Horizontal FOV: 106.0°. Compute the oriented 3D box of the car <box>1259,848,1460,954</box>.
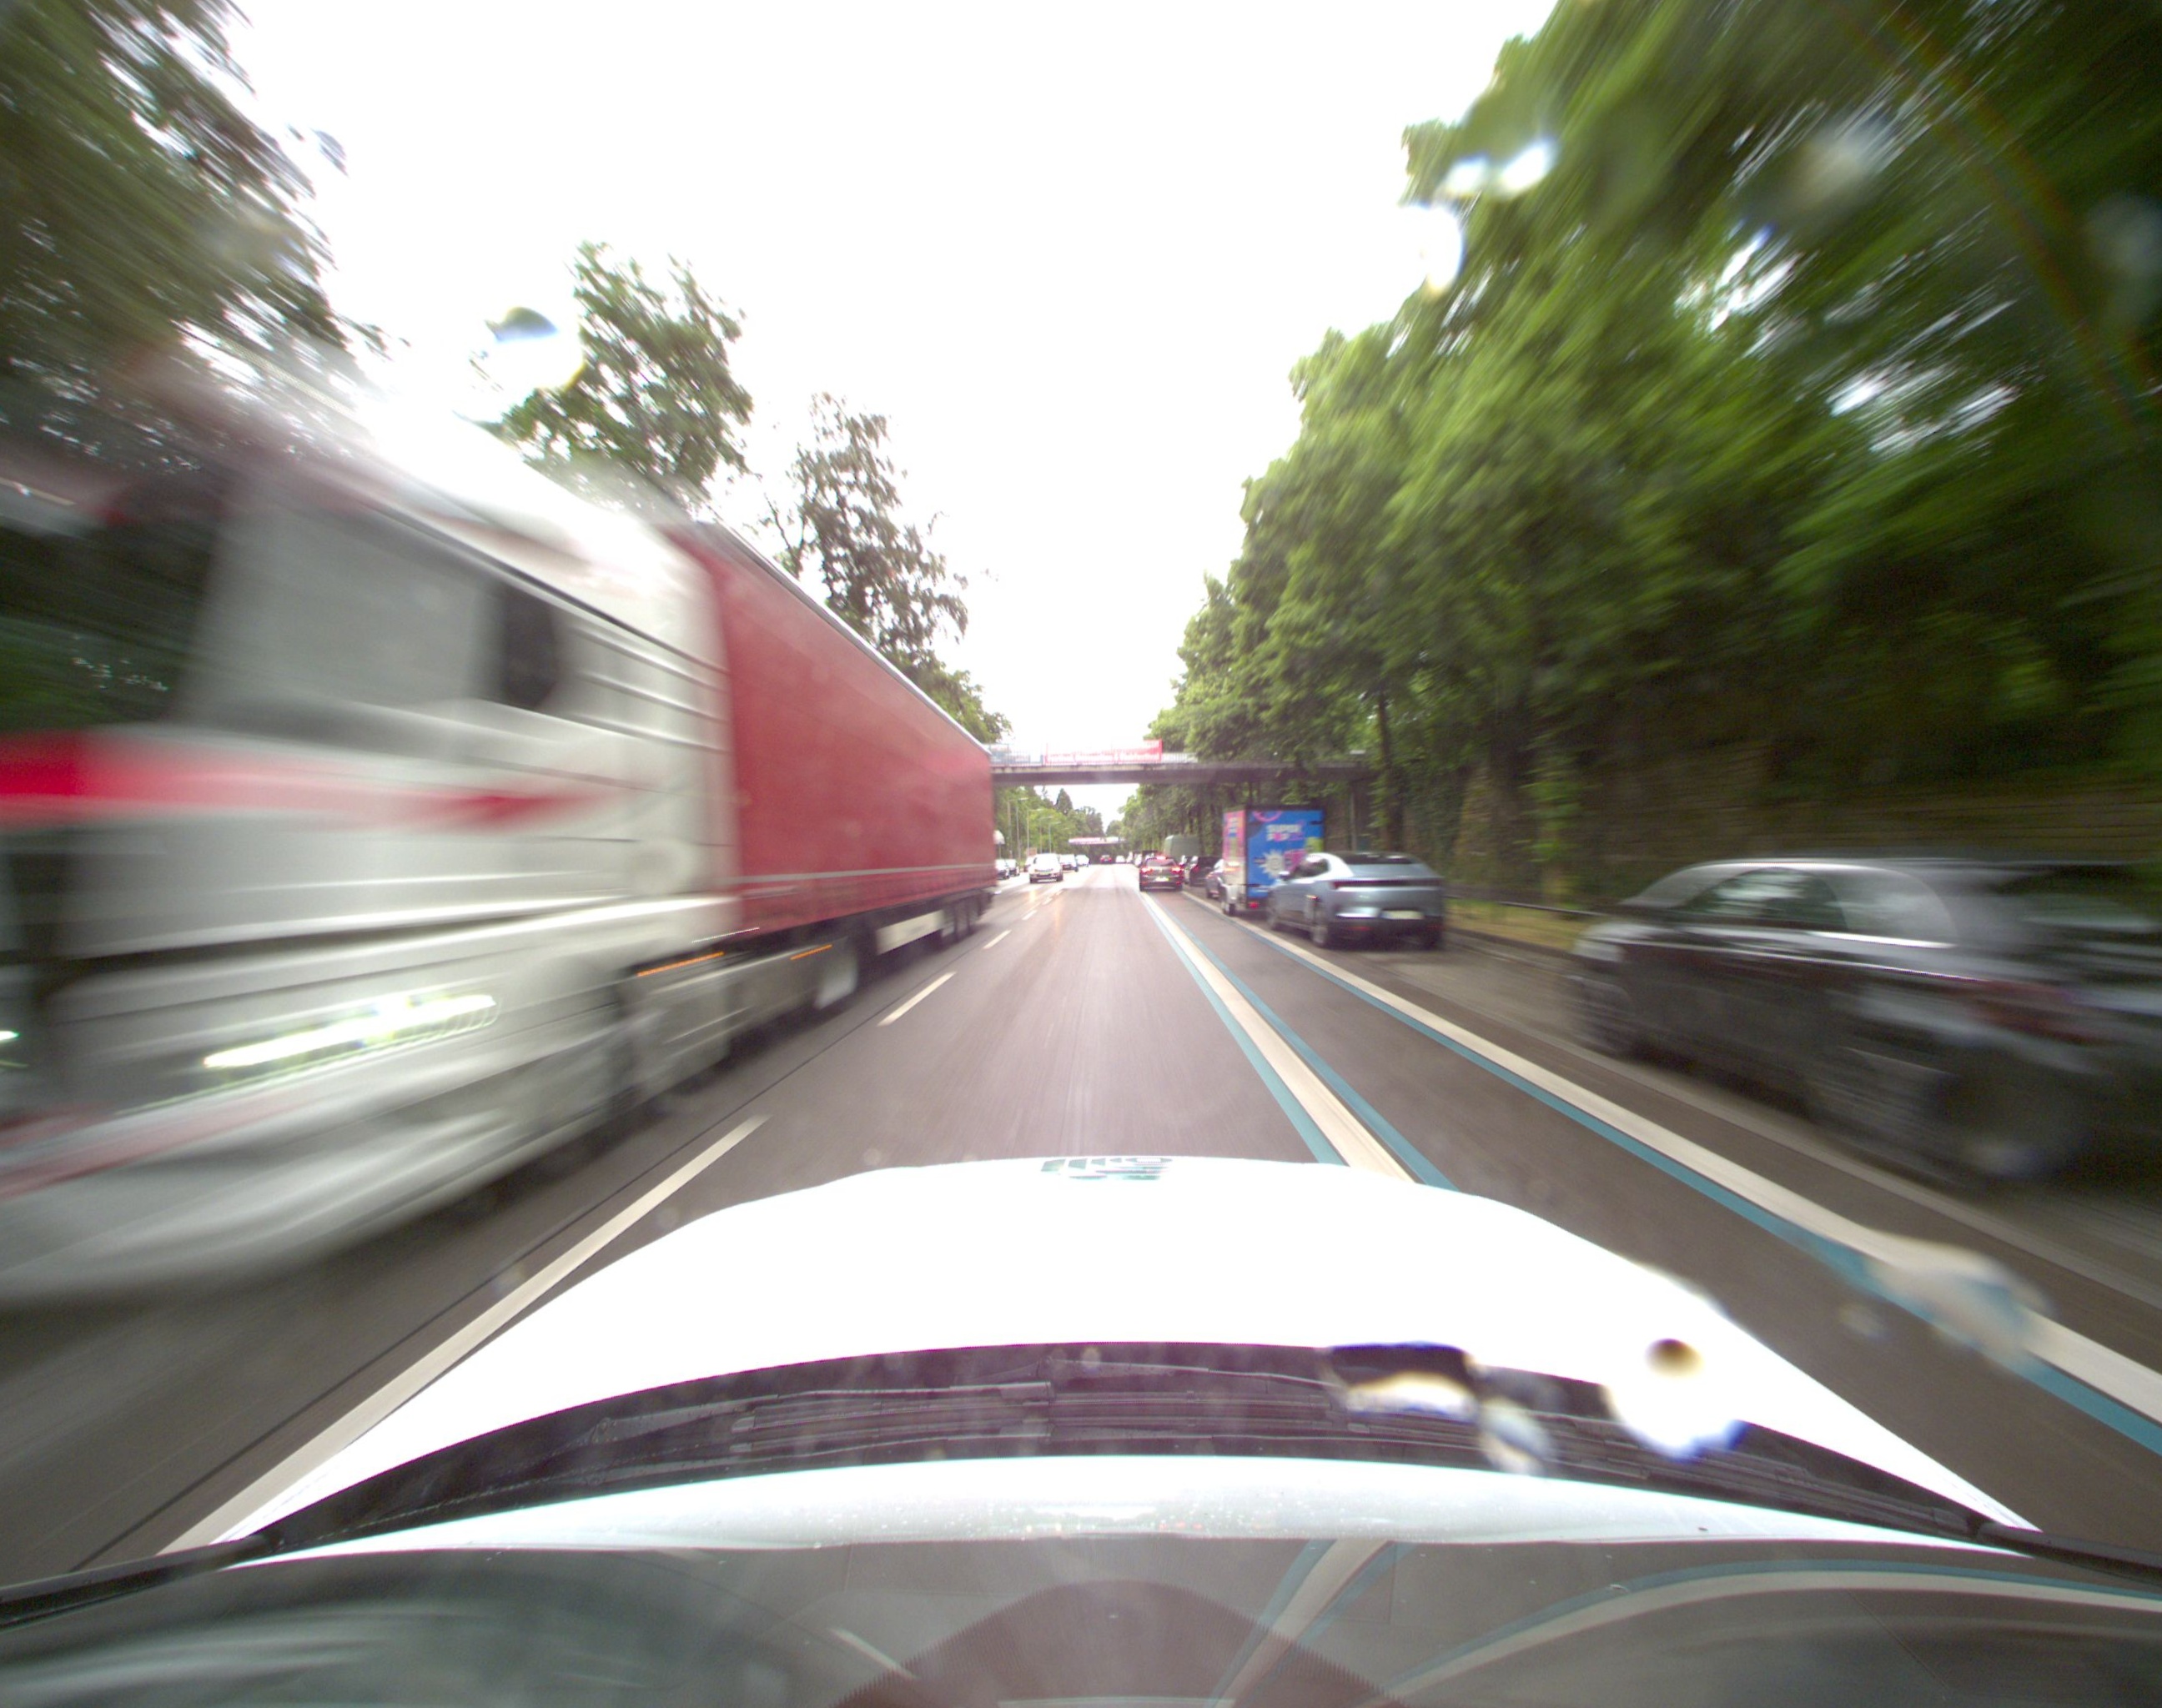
[{"bbox_3d":[4.644,0.681,14.425,1.894,1.547,4.754,0,0,-1],"label":"car"}]

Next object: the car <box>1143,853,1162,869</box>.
[{"bbox_3d":[6.994,0.661,80.049,1.679,1.453,4.167,0,0,2],"label":"car"}]

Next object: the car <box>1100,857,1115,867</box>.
[{"bbox_3d":[4.167,1.327,129.138,2.133,1.492,4.497,-1,0,0],"label":"car"}]

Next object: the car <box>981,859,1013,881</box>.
[{"bbox_3d":[-6.311,1.154,61.627,1.950,1.463,4.754,-1,0,-1],"label":"car"}]

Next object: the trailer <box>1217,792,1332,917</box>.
[{"bbox_3d":[4.665,0.014,20.217,1.945,2.758,4.009,-1,0,2],"label":"trailer"}]

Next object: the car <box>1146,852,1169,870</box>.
[{"bbox_3d":[6.717,0.598,72.125,1.749,1.589,4.501,0,0,2],"label":"car"}]

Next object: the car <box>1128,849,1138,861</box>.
[{"bbox_3d":[9.608,0.136,150.533,1.881,2.127,4.048,-1,0,3],"label":"car"}]

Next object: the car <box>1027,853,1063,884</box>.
[{"bbox_3d":[-2.080,0.818,48.343,1.827,1.666,4.182,-2,0,1],"label":"car"}]

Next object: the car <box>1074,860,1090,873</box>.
[{"bbox_3d":[0.140,1.626,105.304,1.914,1.560,4.623,-1,0,2],"label":"car"}]

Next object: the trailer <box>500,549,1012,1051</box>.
[{"bbox_3d":[-3.437,-0.485,13.591,2.677,4.258,12.776,-4,0,2],"label":"trailer"}]

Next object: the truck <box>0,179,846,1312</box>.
[{"bbox_3d":[-3.718,-0.370,5.438,2.509,4.046,4.917,-4,0,1],"label":"truck"}]

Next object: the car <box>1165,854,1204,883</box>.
[{"bbox_3d":[5.533,0.743,43.856,1.679,1.416,4.102,-1,0,2],"label":"car"}]

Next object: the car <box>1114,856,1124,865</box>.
[{"bbox_3d":[7.122,1.164,151.181,1.725,1.583,4.037,-2,0,1],"label":"car"}]

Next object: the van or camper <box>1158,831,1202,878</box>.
[{"bbox_3d":[6.137,0.012,51.207,2.035,2.729,6.902,0,0,1],"label":"van or camper"}]

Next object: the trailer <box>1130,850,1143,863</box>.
[{"bbox_3d":[9.082,0.403,133.887,1.876,2.166,3.810,-2,0,2],"label":"trailer"}]

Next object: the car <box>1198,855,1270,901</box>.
[{"bbox_3d":[4.934,0.730,26.686,1.579,1.353,3.861,0,0,-1],"label":"car"}]

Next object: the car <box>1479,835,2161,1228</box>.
[{"bbox_3d":[4.663,0.681,5.471,1.819,1.503,4.572,-2,0,1],"label":"car"}]

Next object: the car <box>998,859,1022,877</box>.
[{"bbox_3d":[-6.155,1.210,70.911,1.665,1.457,3.994,-2,0,1],"label":"car"}]

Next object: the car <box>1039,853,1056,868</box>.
[{"bbox_3d":[-4.669,0.941,114.093,1.906,1.931,4.929,-2,0,1],"label":"car"}]

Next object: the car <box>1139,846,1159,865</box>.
[{"bbox_3d":[7.542,0.125,90.720,1.919,2.022,4.666,-2,0,2],"label":"car"}]

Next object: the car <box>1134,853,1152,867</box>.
[{"bbox_3d":[7.269,0.713,95.634,1.783,1.543,4.889,0,0,0],"label":"car"}]

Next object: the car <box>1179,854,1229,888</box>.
[{"bbox_3d":[5.730,0.763,38.401,1.680,1.416,4.197,-2,0,0],"label":"car"}]

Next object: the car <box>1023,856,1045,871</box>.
[{"bbox_3d":[-5.100,1.029,88.836,2.071,1.482,4.671,-2,0,-1],"label":"car"}]

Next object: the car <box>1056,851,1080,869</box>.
[{"bbox_3d":[-1.197,0.555,77.013,1.959,1.627,4.322,-3,0,1],"label":"car"}]

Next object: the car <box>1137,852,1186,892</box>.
[{"bbox_3d":[3.290,0.720,34.084,1.811,1.508,4.142,-2,0,3],"label":"car"}]

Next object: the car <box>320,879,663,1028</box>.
[{"bbox_3d":[-7.770,1.200,11.315,1.783,1.482,3.982,-2,0,0],"label":"car"}]
